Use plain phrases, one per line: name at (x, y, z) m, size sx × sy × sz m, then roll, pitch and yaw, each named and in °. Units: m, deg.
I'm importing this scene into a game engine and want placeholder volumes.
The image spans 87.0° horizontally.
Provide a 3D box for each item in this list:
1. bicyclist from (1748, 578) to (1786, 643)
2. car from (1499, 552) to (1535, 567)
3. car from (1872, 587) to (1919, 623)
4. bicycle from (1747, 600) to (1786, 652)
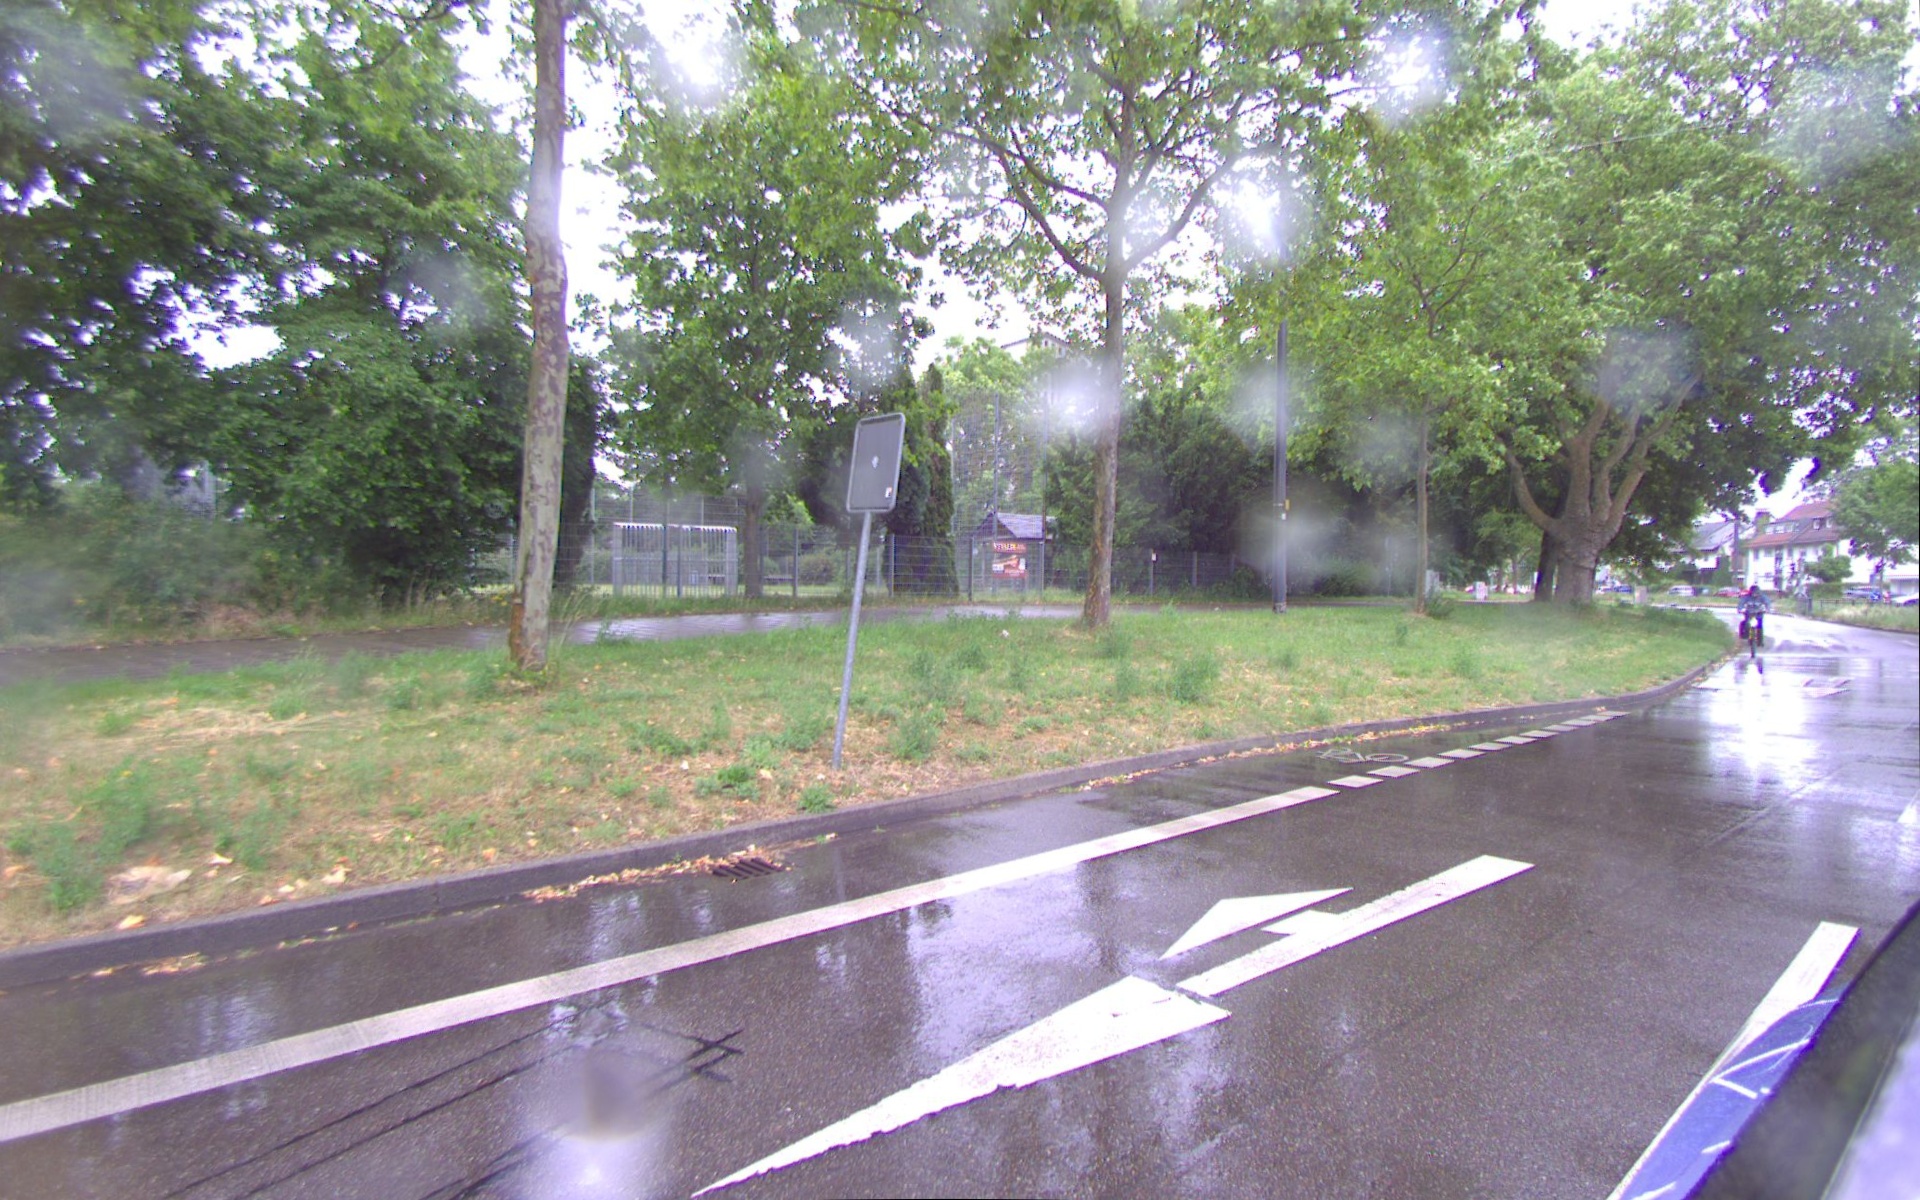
bicyclist at (19.128, 0.235, 23.990) m, size 0.690 × 1.525 × 0.832 m, roll 0°, pitch 1°, yaw 40°
car at (73.783, -5.318, 134.086) m, size 3.958 × 1.850 × 1.983 m, roll 0°, pitch 0°, yaw 25°
car at (39.332, 0.186, 40.555) m, size 4.025 × 1.438 × 1.652 m, roll 0°, pitch 0°, yaw 39°
bicycle at (19.131, 0.590, 23.996) m, size 0.690 × 1.131 × 1.858 m, roll 0°, pitch 1°, yaw 40°
